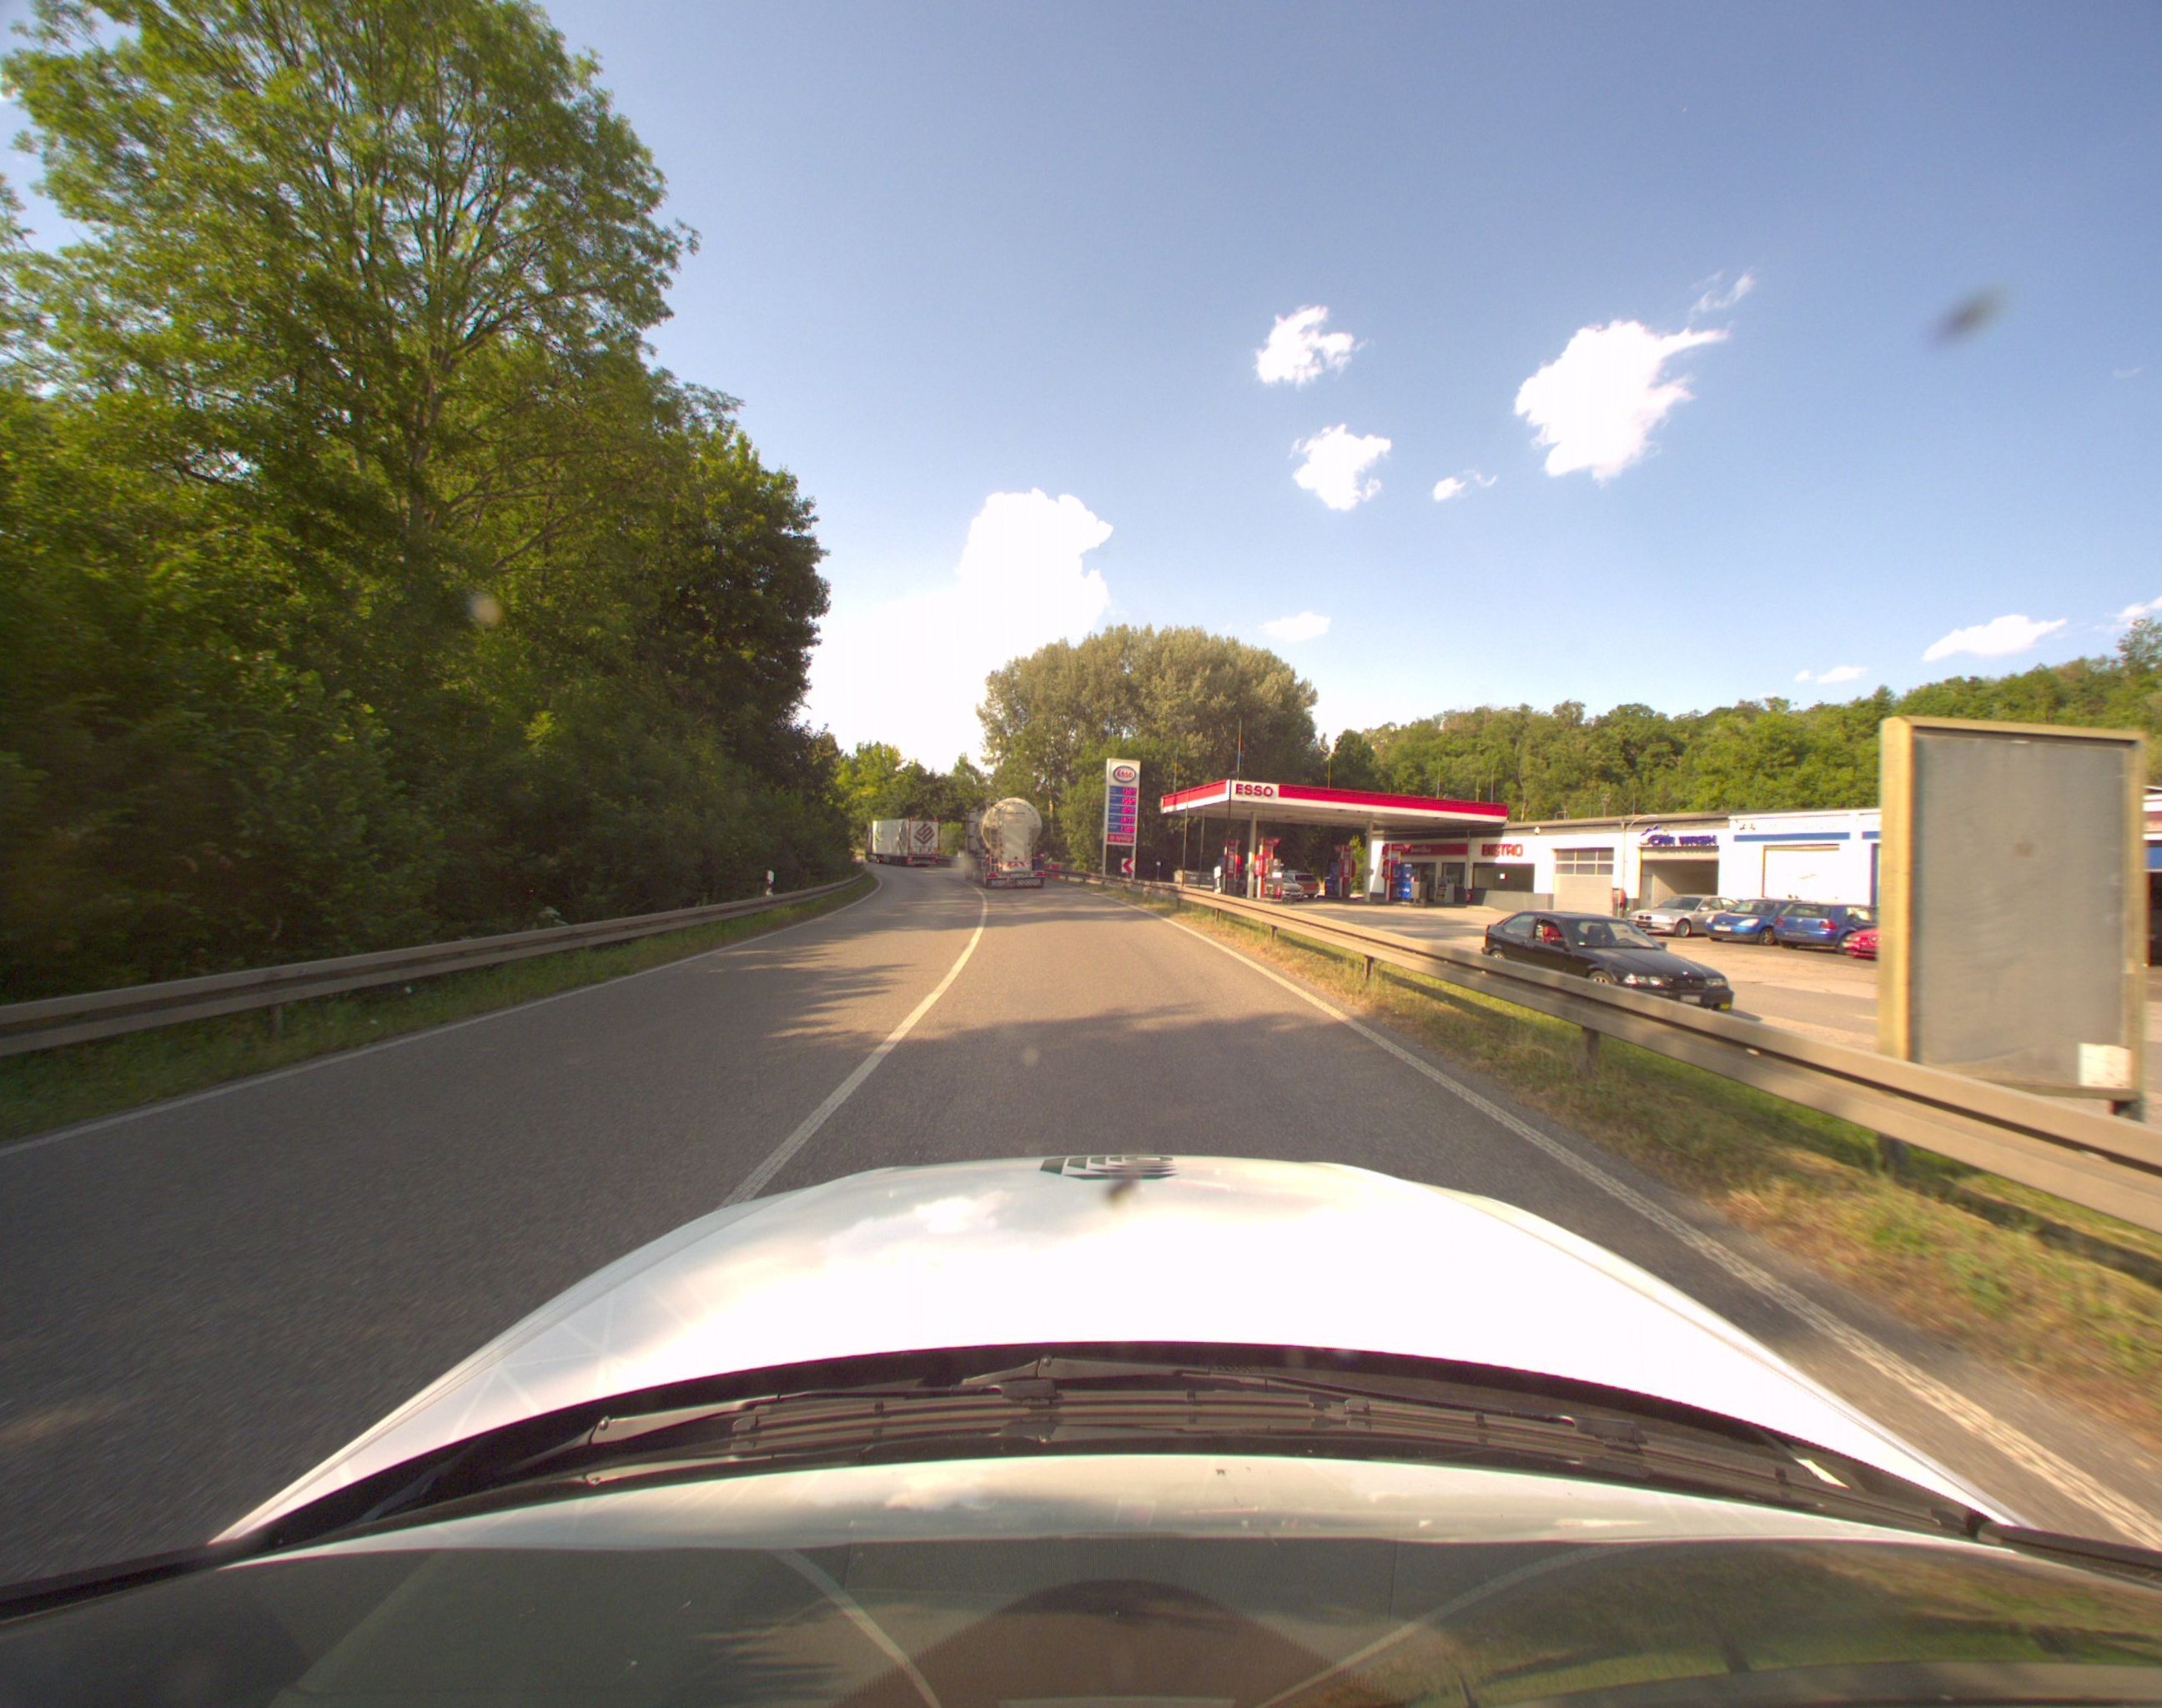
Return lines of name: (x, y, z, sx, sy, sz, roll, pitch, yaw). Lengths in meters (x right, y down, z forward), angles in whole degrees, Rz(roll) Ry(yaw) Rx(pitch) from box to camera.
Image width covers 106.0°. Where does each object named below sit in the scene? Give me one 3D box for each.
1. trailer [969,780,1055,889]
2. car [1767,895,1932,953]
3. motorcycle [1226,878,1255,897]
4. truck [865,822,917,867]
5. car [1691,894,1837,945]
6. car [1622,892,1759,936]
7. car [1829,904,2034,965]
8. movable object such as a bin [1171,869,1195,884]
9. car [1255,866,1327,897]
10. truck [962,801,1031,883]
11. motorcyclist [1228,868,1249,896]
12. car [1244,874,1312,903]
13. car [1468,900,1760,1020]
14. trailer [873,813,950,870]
trailer: (-3.452, -0.828, 38.238, 2.889, 4.454, 9.566, 0, 0, -12)
car: (21.918, 1.991, 23.272, 3.547, 1.445, 1.726, 2, -1, -13)
motorcycle: (9.233, 1.924, 47.305, 0.762, 1.012, 2.331, 2, 0, -12)
truck: (-18.415, -0.904, 78.650, 3.468, 4.086, 6.435, 2, 0, -26)
car: (21.367, 2.030, 25.526, 3.553, 1.406, 1.684, 2, 0, -13)
car: (20.855, 2.012, 27.907, 3.965, 1.354, 1.767, 1, 0, -17)
car: (22.145, 2.057, 21.255, 4.070, 1.348, 1.887, 1, 0, -13)
movable object such as a bin: (10.786, 2.419, 86.524, 1.272, 1.420, 2.535, 6, -2, -26)
car: (12.580, 1.627, 49.161, 2.094, 1.628, 5.157, 2, 0, -13)
truck: (-4.594, -0.613, 43.285, 2.828, 4.034, 5.866, -1, 0, -14)
motorcyclist: (9.201, 1.617, 47.545, 0.859, 1.605, 0.924, 3, -1, -13)
car: (10.563, 1.851, 44.036, 1.843, 1.319, 4.372, 2, 0, -12)
car: (8.289, 1.572, 13.223, 1.819, 1.352, 4.268, 2, 0, -2)
trailer: (-15.291, -1.084, 72.255, 3.563, 4.513, 12.875, 2, 0, -26)
